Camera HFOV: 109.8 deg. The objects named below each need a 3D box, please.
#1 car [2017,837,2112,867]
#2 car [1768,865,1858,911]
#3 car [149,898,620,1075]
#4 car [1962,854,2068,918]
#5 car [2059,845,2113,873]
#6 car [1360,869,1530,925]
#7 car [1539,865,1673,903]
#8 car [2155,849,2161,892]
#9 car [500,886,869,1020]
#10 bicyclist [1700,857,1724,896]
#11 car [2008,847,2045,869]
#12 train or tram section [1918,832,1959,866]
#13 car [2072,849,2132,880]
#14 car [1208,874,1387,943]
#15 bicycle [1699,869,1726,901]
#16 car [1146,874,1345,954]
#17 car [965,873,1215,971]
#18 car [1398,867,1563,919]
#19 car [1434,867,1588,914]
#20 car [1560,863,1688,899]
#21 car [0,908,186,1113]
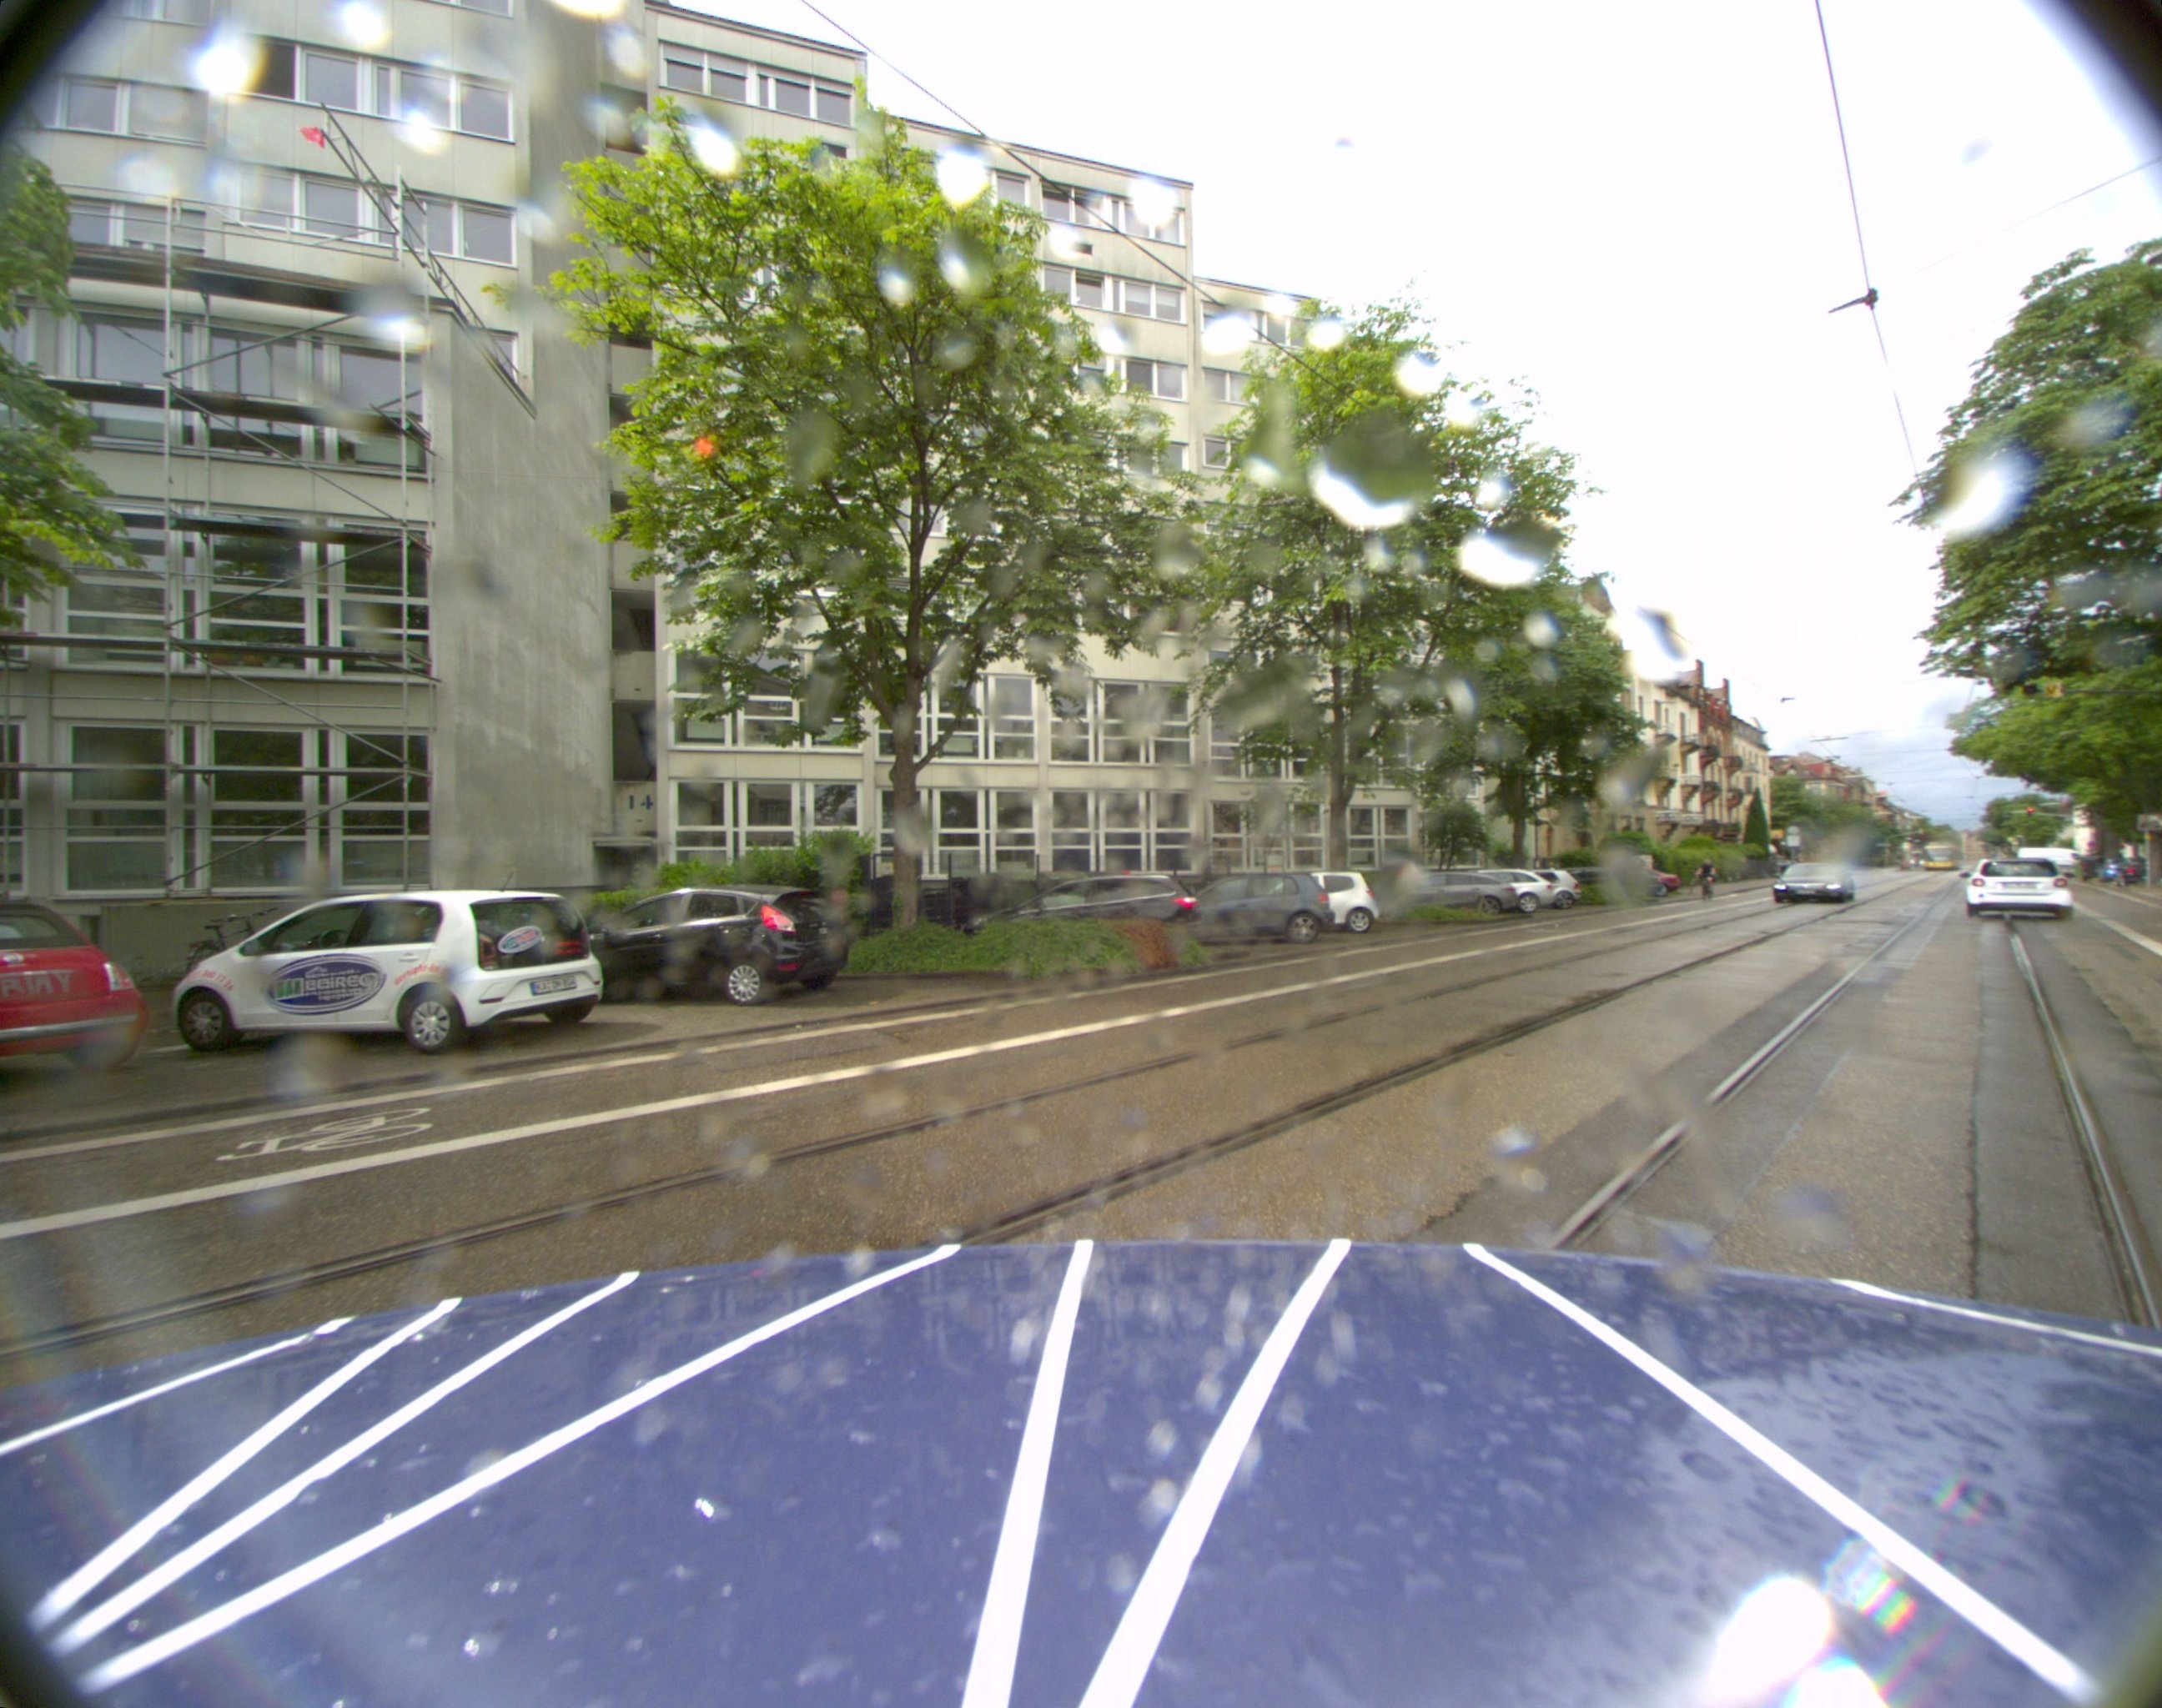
[{"bbox_3d":[105.188,-0.177,81.428,5.708,2.814,2.761,-4,-2,42],"label":"car"},{"bbox_3d":[27.365,1.242,28.352,4.773,1.471,1.995,-1,-2,-42],"label":"car"},{"bbox_3d":[-6.816,1.220,7.641,3.403,1.443,1.712,-1,0,8],"label":"car"},{"bbox_3d":[24.153,0.810,19.709,2.612,1.505,1.611,-2,-2,-40],"label":"car"},{"bbox_3d":[68.549,0.338,51.882,4.126,1.742,1.862,-1,-2,-41],"label":"car"},{"bbox_3d":[10.870,1.265,22.957,4.201,1.444,1.815,-3,-1,6],"label":"car"},{"bbox_3d":[23.044,1.321,33.551,4.433,1.444,1.908,-3,-1,13],"label":"car"},{"bbox_3d":[39.965,0.567,27.056,4.037,1.488,1.791,-2,-2,-37],"label":"car"},{"bbox_3d":[-5.060,1.231,9.914,3.972,1.472,1.818,-2,-1,12],"label":"car"},{"bbox_3d":[26.535,0.941,31.930,0.644,1.607,0.675,-4,-1,45],"label":"bicyclist"},{"bbox_3d":[88.916,0.408,71.443,3.931,1.874,1.843,-2,-1,-35],"label":"car"},{"bbox_3d":[106.166,-0.660,94.013,9.592,3.849,3.016,-1,-2,-40],"label":"train or tram section"},{"bbox_3d":[60.944,0.622,45.408,4.126,1.666,1.754,-1,-2,-41],"label":"car"},{"bbox_3d":[5.168,1.299,18.570,3.877,1.445,1.779,-3,-2,5],"label":"car"},{"bbox_3d":[26.538,1.298,31.915,0.644,1.258,1.872,-4,-2,45],"label":"bicycle"},{"bbox_3d":[3.361,1.245,16.169,3.877,1.445,1.824,-3,-2,5],"label":"car"},{"bbox_3d":[0.200,1.248,14.344,4.366,1.545,1.880,-3,-2,4],"label":"car"},{"bbox_3d":[13.034,1.264,25.037,4.389,1.444,1.886,-3,-1,6],"label":"car"},{"bbox_3d":[15.261,1.289,27.181,4.366,1.444,1.907,-3,-1,6],"label":"car"},{"bbox_3d":[25.367,1.255,35.649,4.433,1.444,1.908,-3,-1,13],"label":"car"},{"bbox_3d":[-9.580,1.201,5.902,3.404,1.460,1.743,-1,-2,5],"label":"car"}]
